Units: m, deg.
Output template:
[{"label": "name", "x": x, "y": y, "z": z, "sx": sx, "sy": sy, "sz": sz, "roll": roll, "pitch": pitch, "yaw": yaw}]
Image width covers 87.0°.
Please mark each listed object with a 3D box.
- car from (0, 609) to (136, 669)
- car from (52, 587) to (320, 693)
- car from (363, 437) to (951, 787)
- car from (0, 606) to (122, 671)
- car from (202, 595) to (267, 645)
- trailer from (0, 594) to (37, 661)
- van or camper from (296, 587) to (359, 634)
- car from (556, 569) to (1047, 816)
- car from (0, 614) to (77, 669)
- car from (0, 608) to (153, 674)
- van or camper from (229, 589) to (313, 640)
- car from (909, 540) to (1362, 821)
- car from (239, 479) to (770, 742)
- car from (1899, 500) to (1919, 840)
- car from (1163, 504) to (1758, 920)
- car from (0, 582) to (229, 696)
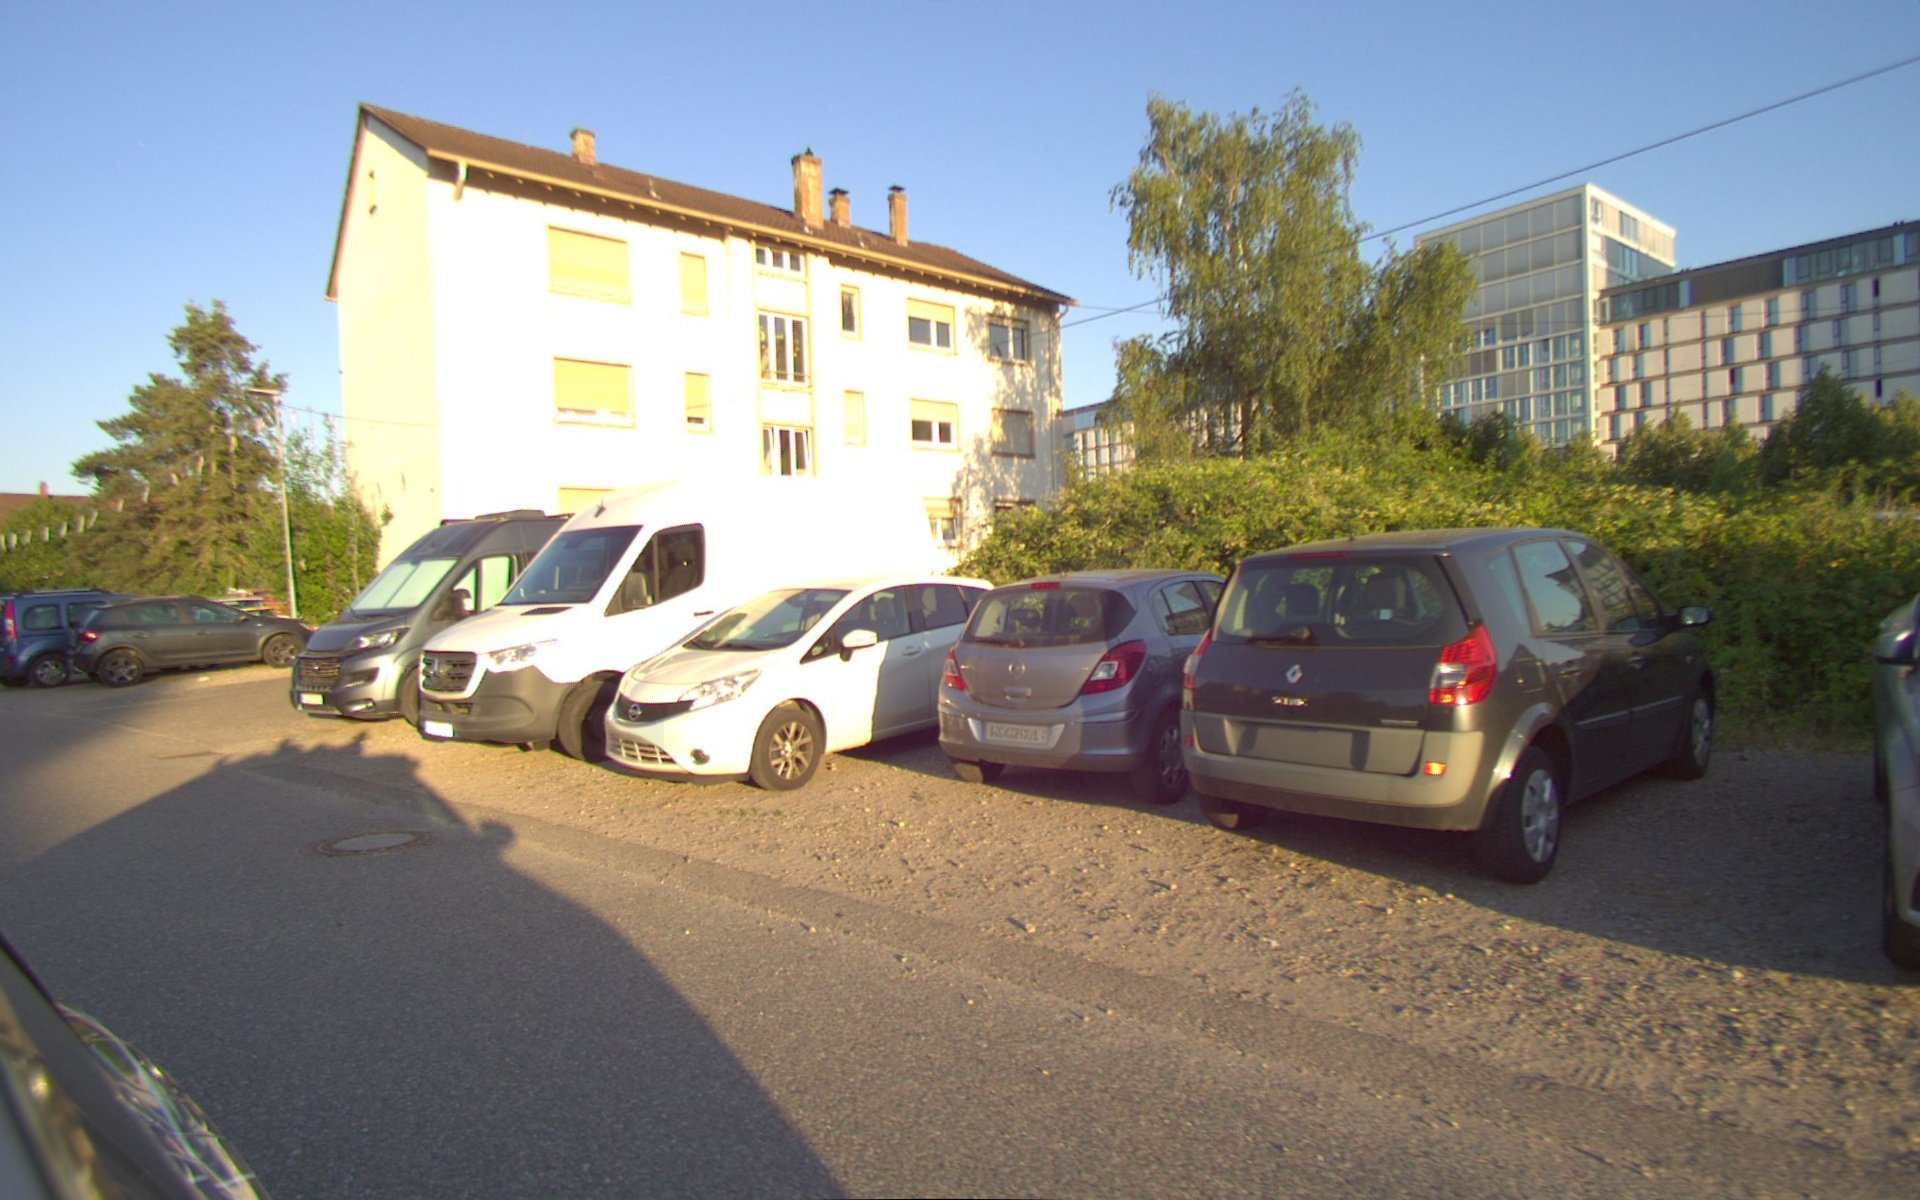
[{"label": "car", "x": -27.831, "y": 1.210, "z": 30.900, "sx": 1.809, "sy": 1.532, "sz": 3.883, "roll": -4, "pitch": 1, "yaw": 43}, {"label": "car", "x": -15.183, "y": 0.708, "z": 20.007, "sx": 1.748, "sy": 1.664, "sz": 3.885, "roll": -2, "pitch": 3, "yaw": 42}, {"label": "car", "x": -2.738, "y": -0.063, "z": 10.799, "sx": 2.047, "sy": 2.733, "sz": 5.773, "roll": -2, "pitch": 2, "yaw": 37}, {"label": "car", "x": -26.182, "y": 1.106, "z": 28.164, "sx": 1.817, "sy": 1.640, "sz": 4.053, "roll": -5, "pitch": -1, "yaw": 36}, {"label": "car", "x": -36.150, "y": 1.039, "z": 50.361, "sx": 1.822, "sy": 2.165, "sz": 4.824, "roll": -3, "pitch": -1, "yaw": -44}, {"label": "trailer", "x": -37.696, "y": 1.141, "z": 37.572, "sx": 2.133, "sy": 2.450, "sz": 4.744, "roll": 0, "pitch": 3, "yaw": 41}, {"label": "van or camper", "x": -39.726, "y": 0.650, "z": 63.478, "sx": 2.177, "sy": 2.728, "sz": 5.753, "roll": -3, "pitch": 1, "yaw": -43}, {"label": "car", "x": -1.122, "y": 0.567, "z": 8.617, "sx": 1.788, "sy": 1.518, "sz": 3.886, "roll": -1, "pitch": 2, "yaw": 40}, {"label": "car", "x": -30.728, "y": 1.357, "z": 32.018, "sx": 1.850, "sy": 1.632, "sz": 3.992, "roll": -1, "pitch": 1, "yaw": 43}, {"label": "car", "x": -23.992, "y": 1.068, "z": 26.799, "sx": 1.643, "sy": 1.528, "sz": 3.883, "roll": 0, "pitch": 2, "yaw": 43}, {"label": "van or camper", "x": -40.729, "y": 0.874, "z": 59.790, "sx": 5.789, "sy": 2.791, "sz": 2.235, "roll": -2, "pitch": 1, "yaw": 37}, {"label": "car", "x": 1.570, "y": 0.374, "z": 7.817, "sx": 1.746, "sy": 1.602, "sz": 3.887, "roll": 0, "pitch": 3, "yaw": 39}, {"label": "car", "x": -5.631, "y": -0.082, "z": 13.748, "sx": 2.107, "sy": 2.732, "sz": 6.338, "roll": -1, "pitch": 3, "yaw": 33}, {"label": "car", "x": 4.711, "y": 0.375, "z": 3.650, "sx": 1.747, "sy": 1.602, "sz": 4.085, "roll": -1, "pitch": 3, "yaw": 40}, {"label": "car", "x": 3.086, "y": 0.355, "z": 5.841, "sx": 3.879, "sy": 1.602, "sz": 1.750, "roll": -4, "pitch": 1, "yaw": -42}, {"label": "car", "x": -17.703, "y": 0.726, "z": 20.799, "sx": 1.739, "sy": 1.925, "sz": 3.904, "roll": -3, "pitch": 2, "yaw": 26}]
